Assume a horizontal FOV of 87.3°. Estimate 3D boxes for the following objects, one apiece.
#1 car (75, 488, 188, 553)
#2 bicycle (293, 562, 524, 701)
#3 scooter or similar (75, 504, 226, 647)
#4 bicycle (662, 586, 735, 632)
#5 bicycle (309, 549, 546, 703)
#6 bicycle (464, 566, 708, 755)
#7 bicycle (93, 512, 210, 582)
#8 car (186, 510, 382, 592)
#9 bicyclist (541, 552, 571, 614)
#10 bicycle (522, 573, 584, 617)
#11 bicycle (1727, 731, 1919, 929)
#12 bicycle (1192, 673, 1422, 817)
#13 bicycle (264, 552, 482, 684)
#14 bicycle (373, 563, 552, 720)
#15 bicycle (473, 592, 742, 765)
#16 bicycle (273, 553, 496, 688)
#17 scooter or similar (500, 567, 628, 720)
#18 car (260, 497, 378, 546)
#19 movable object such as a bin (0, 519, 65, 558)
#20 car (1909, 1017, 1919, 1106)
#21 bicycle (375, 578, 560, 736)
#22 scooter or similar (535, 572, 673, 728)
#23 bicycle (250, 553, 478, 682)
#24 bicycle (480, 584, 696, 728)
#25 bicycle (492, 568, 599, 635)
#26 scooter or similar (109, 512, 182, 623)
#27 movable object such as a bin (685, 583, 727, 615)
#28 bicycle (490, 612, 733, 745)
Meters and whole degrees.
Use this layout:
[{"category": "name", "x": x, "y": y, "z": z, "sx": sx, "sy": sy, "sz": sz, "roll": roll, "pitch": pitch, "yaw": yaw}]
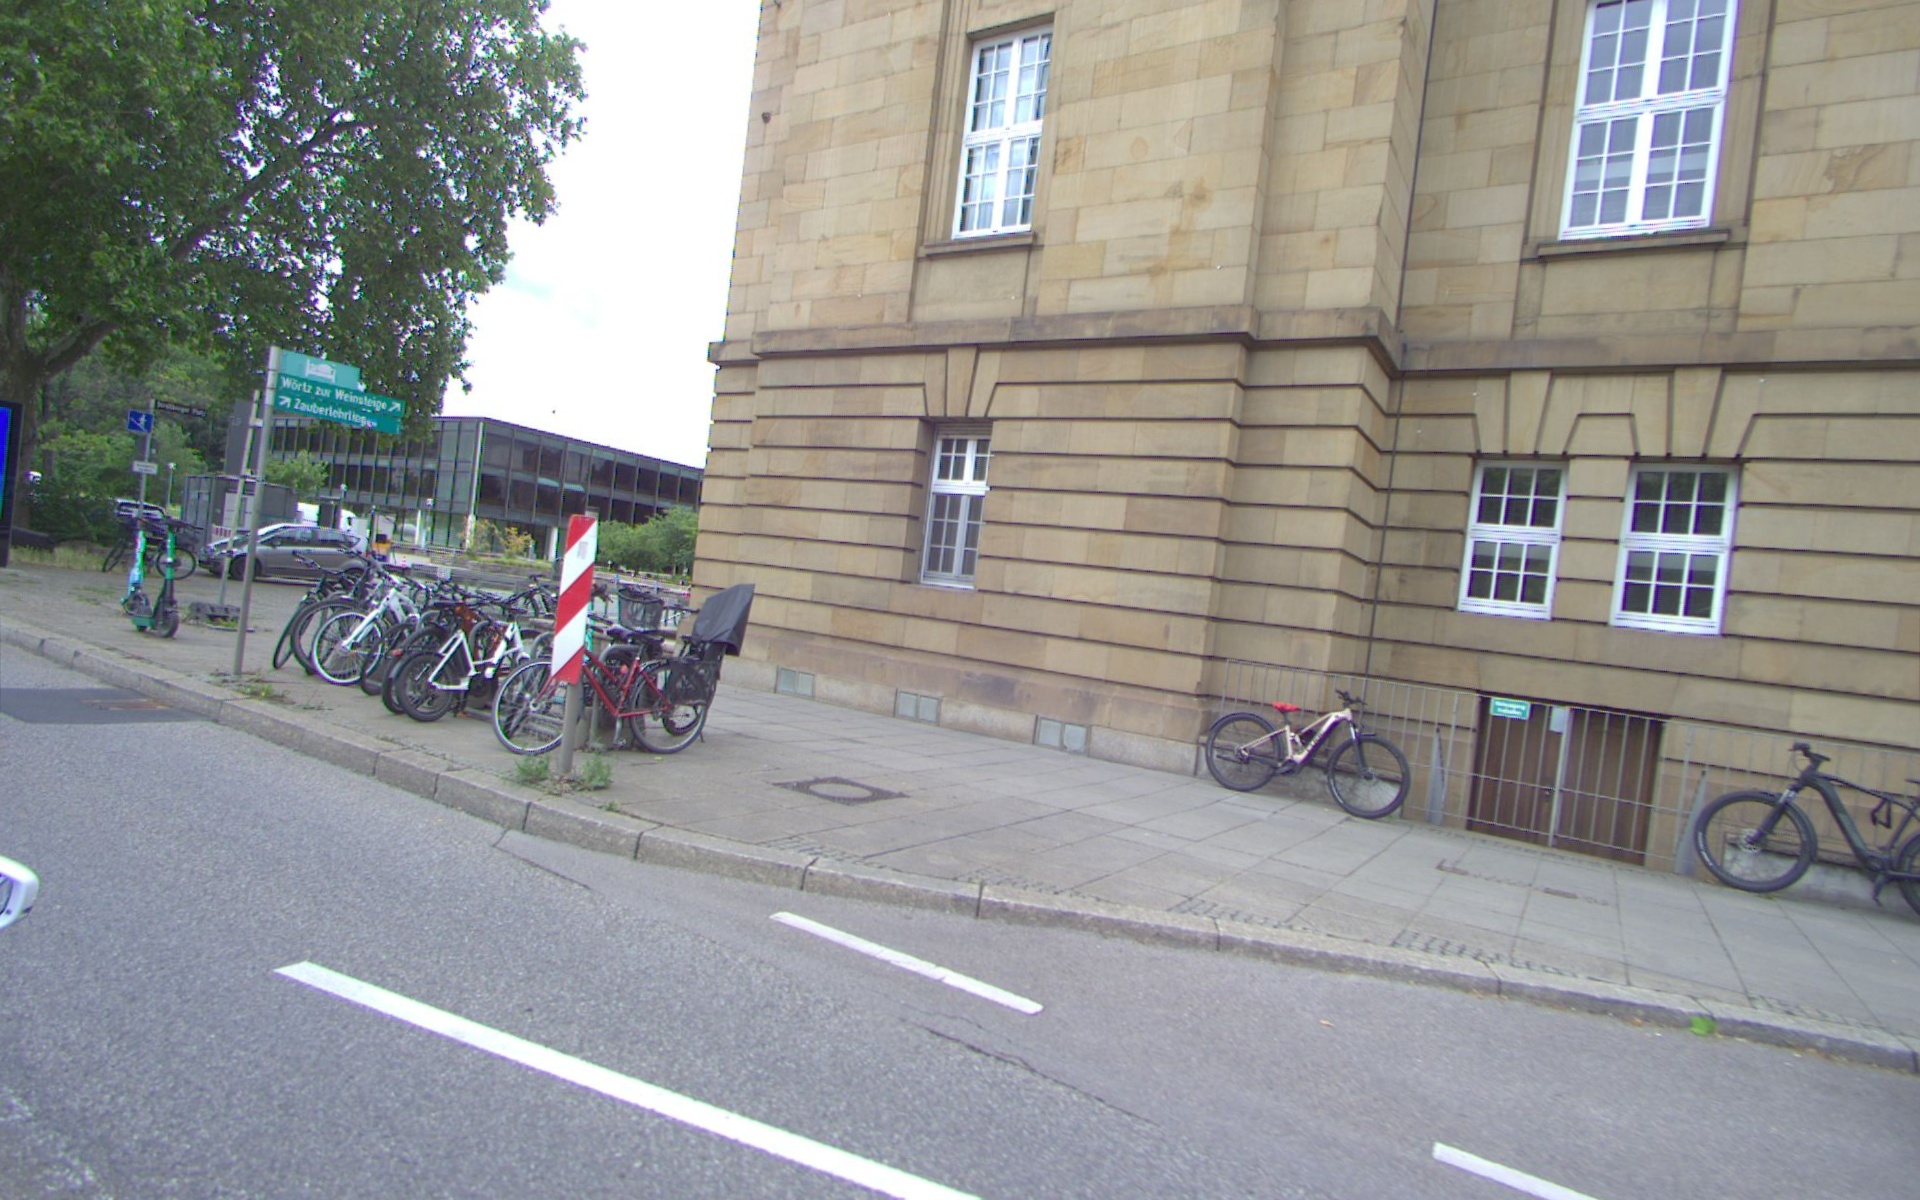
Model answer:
[{"category": "car", "x": -27.531, "y": -2.654, "z": 33.398, "sx": 3.961, "sy": 1.571, "sz": 1.762, "roll": 9, "pitch": 1, "yaw": 34}, {"category": "bicycle", "x": -5.171, "y": 0.330, "z": 9.534, "sx": 0.566, "sy": 1.104, "sz": 1.727, "roll": 7, "pitch": -2, "yaw": 41}, {"category": "scooter or similar", "x": -8.716, "y": -0.267, "z": 10.822, "sx": 1.390, "sy": 1.347, "sz": 0.727, "roll": 7, "pitch": -1, "yaw": 32}, {"category": "bicycle", "x": -7.694, "y": 0.290, "z": 29.715, "sx": 0.420, "sy": 1.113, "sz": 2.165, "roll": 7, "pitch": -2, "yaw": 38}, {"category": "bicycle", "x": -4.816, "y": 0.282, "z": 9.239, "sx": 0.594, "sy": 1.223, "sz": 1.762, "roll": 7, "pitch": -1, "yaw": 29}, {"category": "bicycle", "x": -2.840, "y": 0.490, "z": 7.729, "sx": 1.536, "sy": 1.271, "sz": 0.537, "roll": 9, "pitch": -1, "yaw": -39}, {"category": "bicycle", "x": -17.143, "y": -1.104, "z": 21.364, "sx": 0.484, "sy": 1.235, "sz": 1.786, "roll": 7, "pitch": 0, "yaw": 35}, {"category": "car", "x": -17.672, "y": -1.241, "z": 26.457, "sx": 1.652, "sy": 1.587, "sz": 3.840, "roll": 7, "pitch": -1, "yaw": 33}, {"category": "bicyclist", "x": -11.993, "y": -0.510, "z": 29.888, "sx": 0.466, "sy": 1.770, "sz": 0.437, "roll": 7, "pitch": 1, "yaw": 25}, {"category": "bicycle", "x": -11.898, "y": -0.135, "z": 29.489, "sx": 0.435, "sy": 1.145, "sz": 1.754, "roll": 7, "pitch": 0, "yaw": 25}, {"category": "bicycle", "x": 6.528, "y": 1.659, "z": 7.214, "sx": 1.514, "sy": 1.196, "sz": 0.276, "roll": 6, "pitch": -1, "yaw": 35}, {"category": "bicycle", "x": 3.195, "y": 1.311, "z": 9.396, "sx": 1.930, "sy": 1.010, "sz": 0.240, "roll": 7, "pitch": 0, "yaw": 32}, {"category": "bicycle", "x": -5.809, "y": 0.212, "z": 10.039, "sx": 0.420, "sy": 1.104, "sz": 1.725, "roll": 7, "pitch": -2, "yaw": 45}, {"category": "bicycle", "x": -4.090, "y": 0.351, "z": 8.414, "sx": 0.400, "sy": 1.143, "sz": 1.616, "roll": 8, "pitch": -1, "yaw": 7}, {"category": "bicycle", "x": -2.534, "y": 0.596, "z": 7.340, "sx": 1.655, "sy": 1.087, "sz": 0.579, "roll": 8, "pitch": -1, "yaw": -38}, {"category": "bicycle", "x": -5.507, "y": 0.230, "z": 9.720, "sx": 0.376, "sy": 1.104, "sz": 1.725, "roll": 7, "pitch": -2, "yaw": 45}, {"category": "scooter or similar", "x": -3.617, "y": 0.372, "z": 9.151, "sx": 1.295, "sy": 1.238, "sz": 0.425, "roll": 6, "pitch": -2, "yaw": 43}, {"category": "car", "x": -43.091, "y": -5.247, "z": 67.803, "sx": 2.363, "sy": 2.288, "sz": 6.111, "roll": 7, "pitch": -1, "yaw": 35}, {"category": "movable object such as a bin", "x": -20.149, "y": -1.340, "z": 21.571, "sx": 0.719, "sy": 0.659, "sz": 1.298, "roll": 5, "pitch": -3, "yaw": 41}, {"category": "car", "x": 5.289, "y": 1.430, "z": 2.180, "sx": 4.252, "sy": 1.506, "sz": 1.789, "roll": 7, "pitch": 2, "yaw": 30}, {"category": "bicycle", "x": -4.058, "y": 0.471, "z": 8.436, "sx": 0.461, "sy": 1.143, "sz": 1.616, "roll": 8, "pitch": -1, "yaw": 7}, {"category": "scooter or similar", "x": -3.338, "y": 0.455, "z": 9.405, "sx": 1.131, "sy": 1.293, "sz": 0.562, "roll": 7, "pitch": -1, "yaw": 39}, {"category": "bicycle", "x": -6.187, "y": 0.210, "z": 10.525, "sx": 0.657, "sy": 1.104, "sz": 1.854, "roll": 7, "pitch": -2, "yaw": 45}, {"category": "bicycle", "x": -3.072, "y": 0.501, "z": 8.425, "sx": 0.430, "sy": 1.040, "sz": 1.561, "roll": 7, "pitch": -2, "yaw": 43}, {"category": "bicycle", "x": -8.196, "y": 0.053, "z": 19.998, "sx": 0.382, "sy": 1.139, "sz": 2.013, "roll": 7, "pitch": -1, "yaw": 32}, {"category": "scooter or similar", "x": -10.381, "y": -0.437, "z": 12.807, "sx": 1.415, "sy": 1.295, "sz": 0.430, "roll": 6, "pitch": -1, "yaw": 44}, {"category": "movable object such as a bin", "x": -12.015, "y": -0.050, "z": 47.589, "sx": 1.135, "sy": 1.320, "sz": 1.409, "roll": 7, "pitch": 0, "yaw": 35}, {"category": "bicycle", "x": -2.836, "y": 0.667, "z": 8.298, "sx": 1.720, "sy": 0.928, "sz": 0.607, "roll": 8, "pitch": 0, "yaw": -39}]
